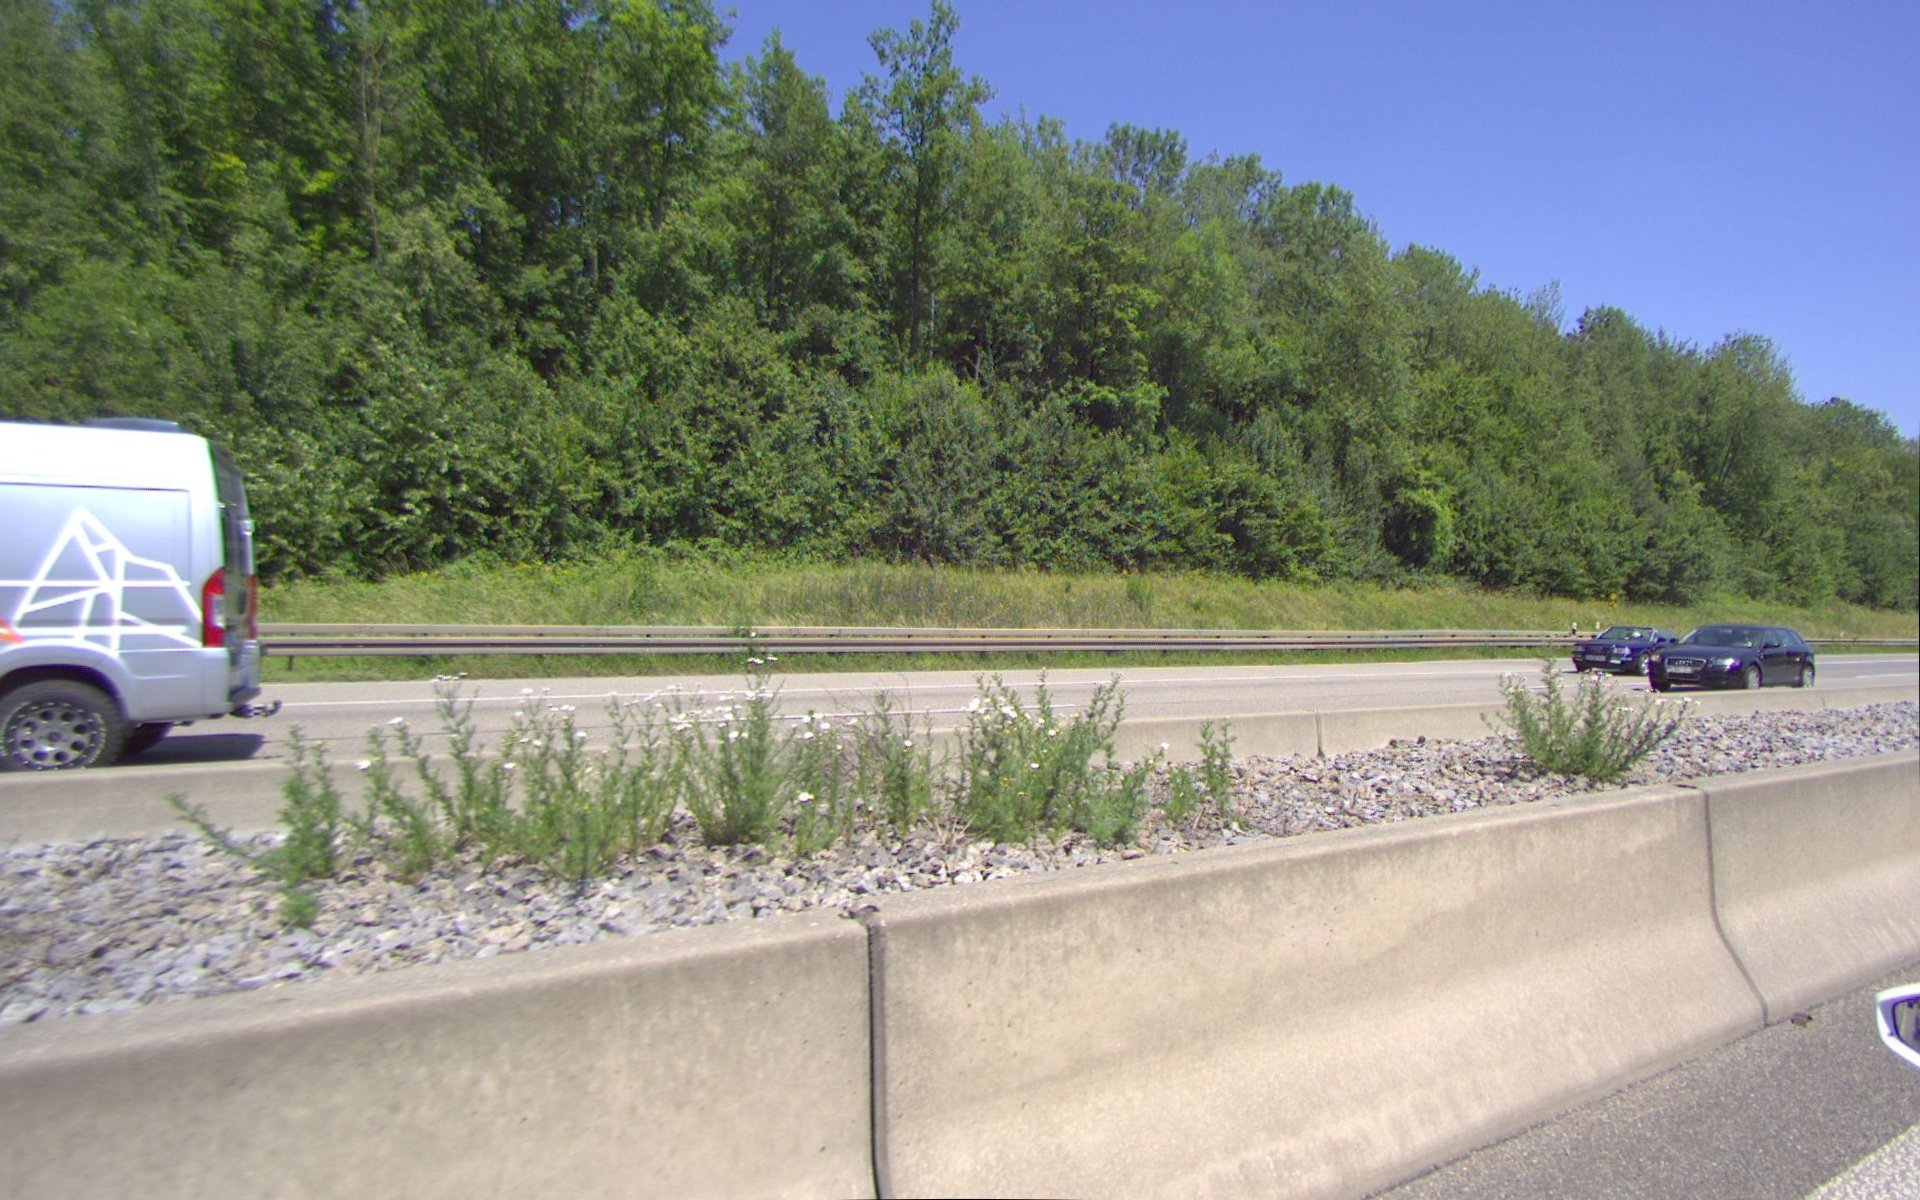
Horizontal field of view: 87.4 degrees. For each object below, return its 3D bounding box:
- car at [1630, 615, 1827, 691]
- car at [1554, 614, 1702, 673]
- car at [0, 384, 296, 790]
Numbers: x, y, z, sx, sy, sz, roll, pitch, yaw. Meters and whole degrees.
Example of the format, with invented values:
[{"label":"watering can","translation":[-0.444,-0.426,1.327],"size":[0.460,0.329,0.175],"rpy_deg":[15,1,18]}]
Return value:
[{"label":"car","translation":[16.014,1.052,20.902],"size":[4.221,1.420,1.804],"rpy_deg":[1,0,-30]},{"label":"car","translation":[18.229,1.149,27.391],"size":[3.953,1.472,1.831],"rpy_deg":[1,0,-30]},{"label":"car","translation":[-8.317,-0.132,6.960],"size":[5.991,2.737,2.205],"rpy_deg":[2,0,-30]}]
